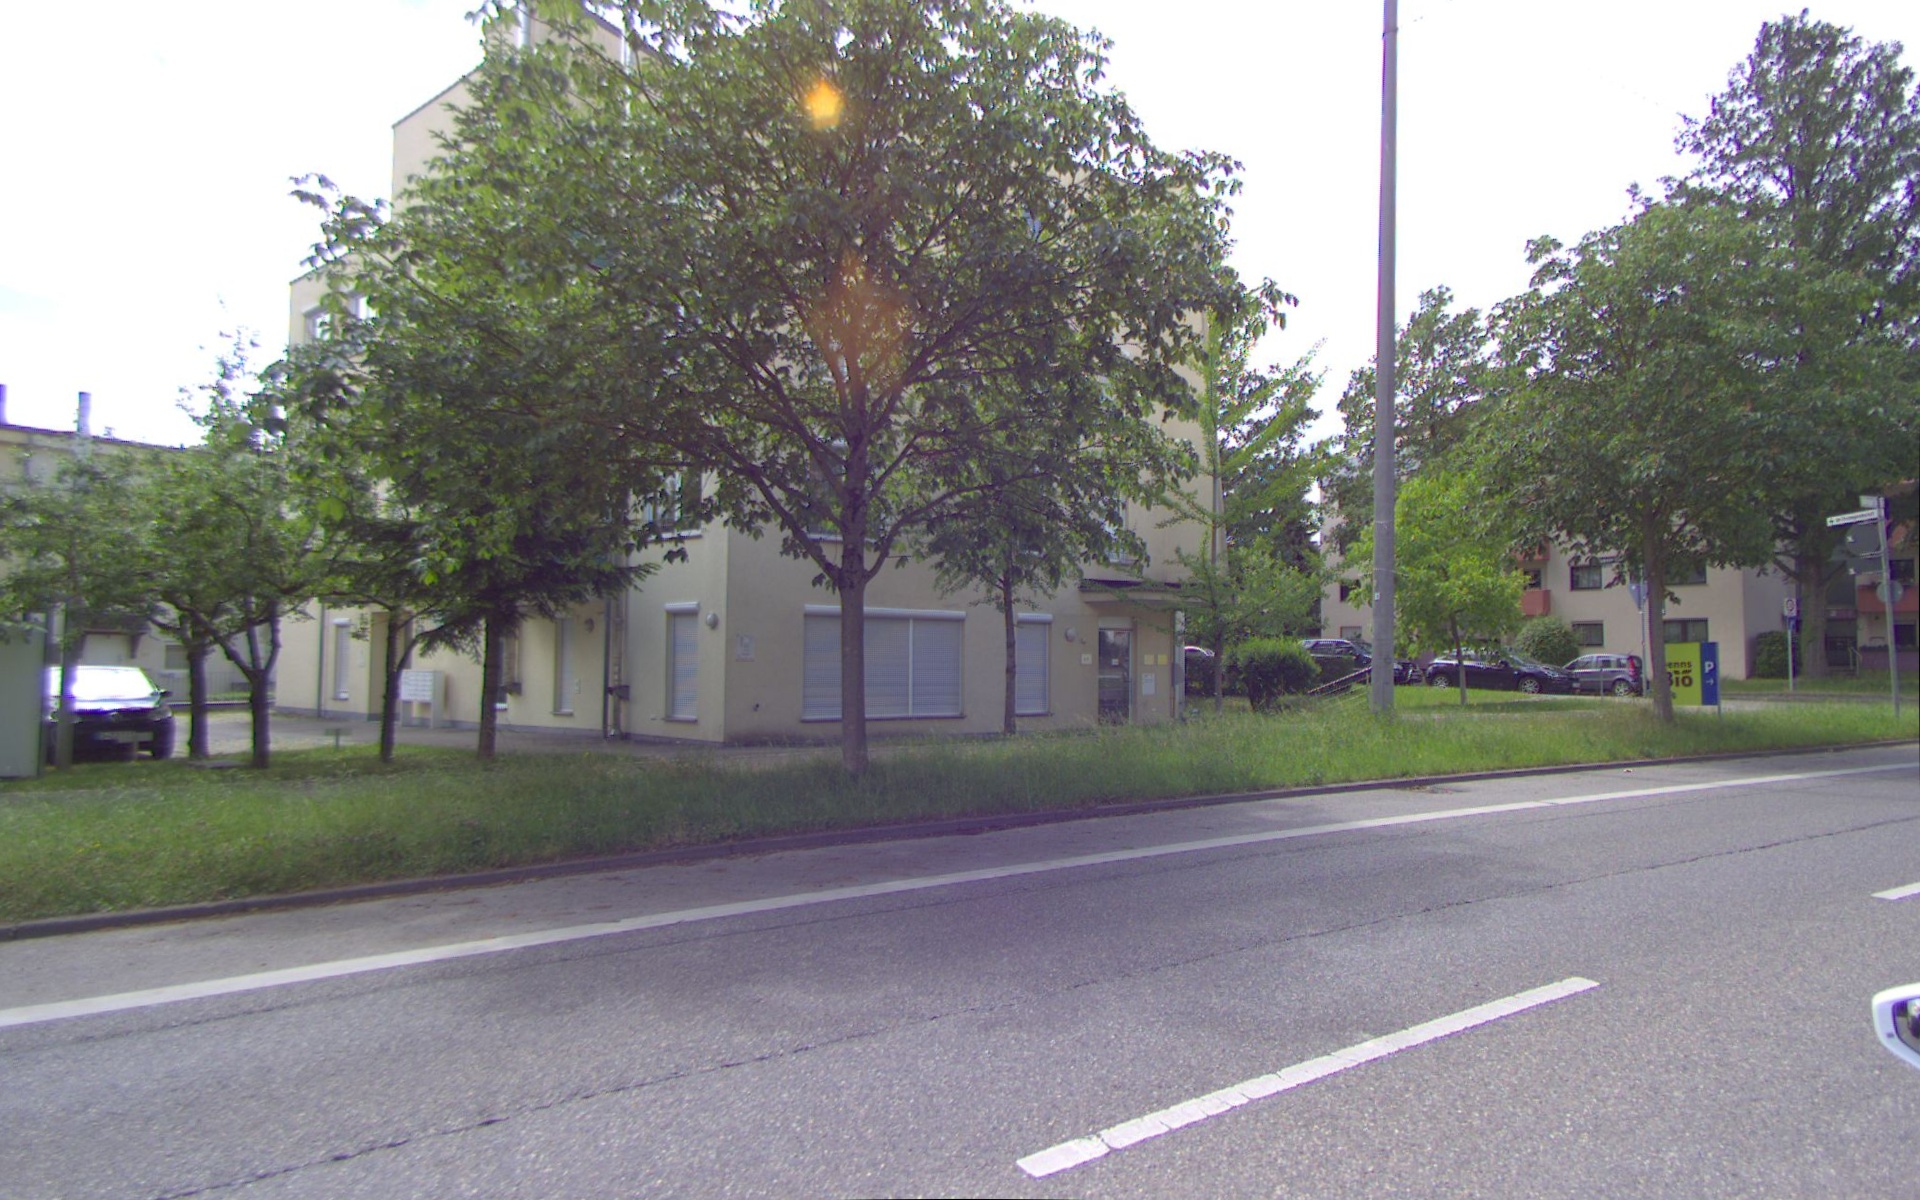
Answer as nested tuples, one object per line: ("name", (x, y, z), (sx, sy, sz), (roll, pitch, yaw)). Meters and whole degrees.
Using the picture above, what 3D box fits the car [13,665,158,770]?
("car", (-13.871, 1.769, 15.880), (3.352, 1.469, 1.424), (-4, -5, 44))

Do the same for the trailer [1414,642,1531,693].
("trailer", (20.569, 2.690, 40.446), (1.616, 1.821, 3.878), (6, -5, -36))

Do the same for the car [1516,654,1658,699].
("car", (22.938, 2.787, 36.882), (1.778, 1.417, 4.052), (6, -5, -34))

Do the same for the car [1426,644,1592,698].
("car", (16.620, 2.126, 30.572), (1.778, 1.417, 4.052), (6, -5, -34))

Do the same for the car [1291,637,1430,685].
("car", (13.809, 2.099, 34.862), (1.882, 1.543, 4.149), (2, -4, -35))
